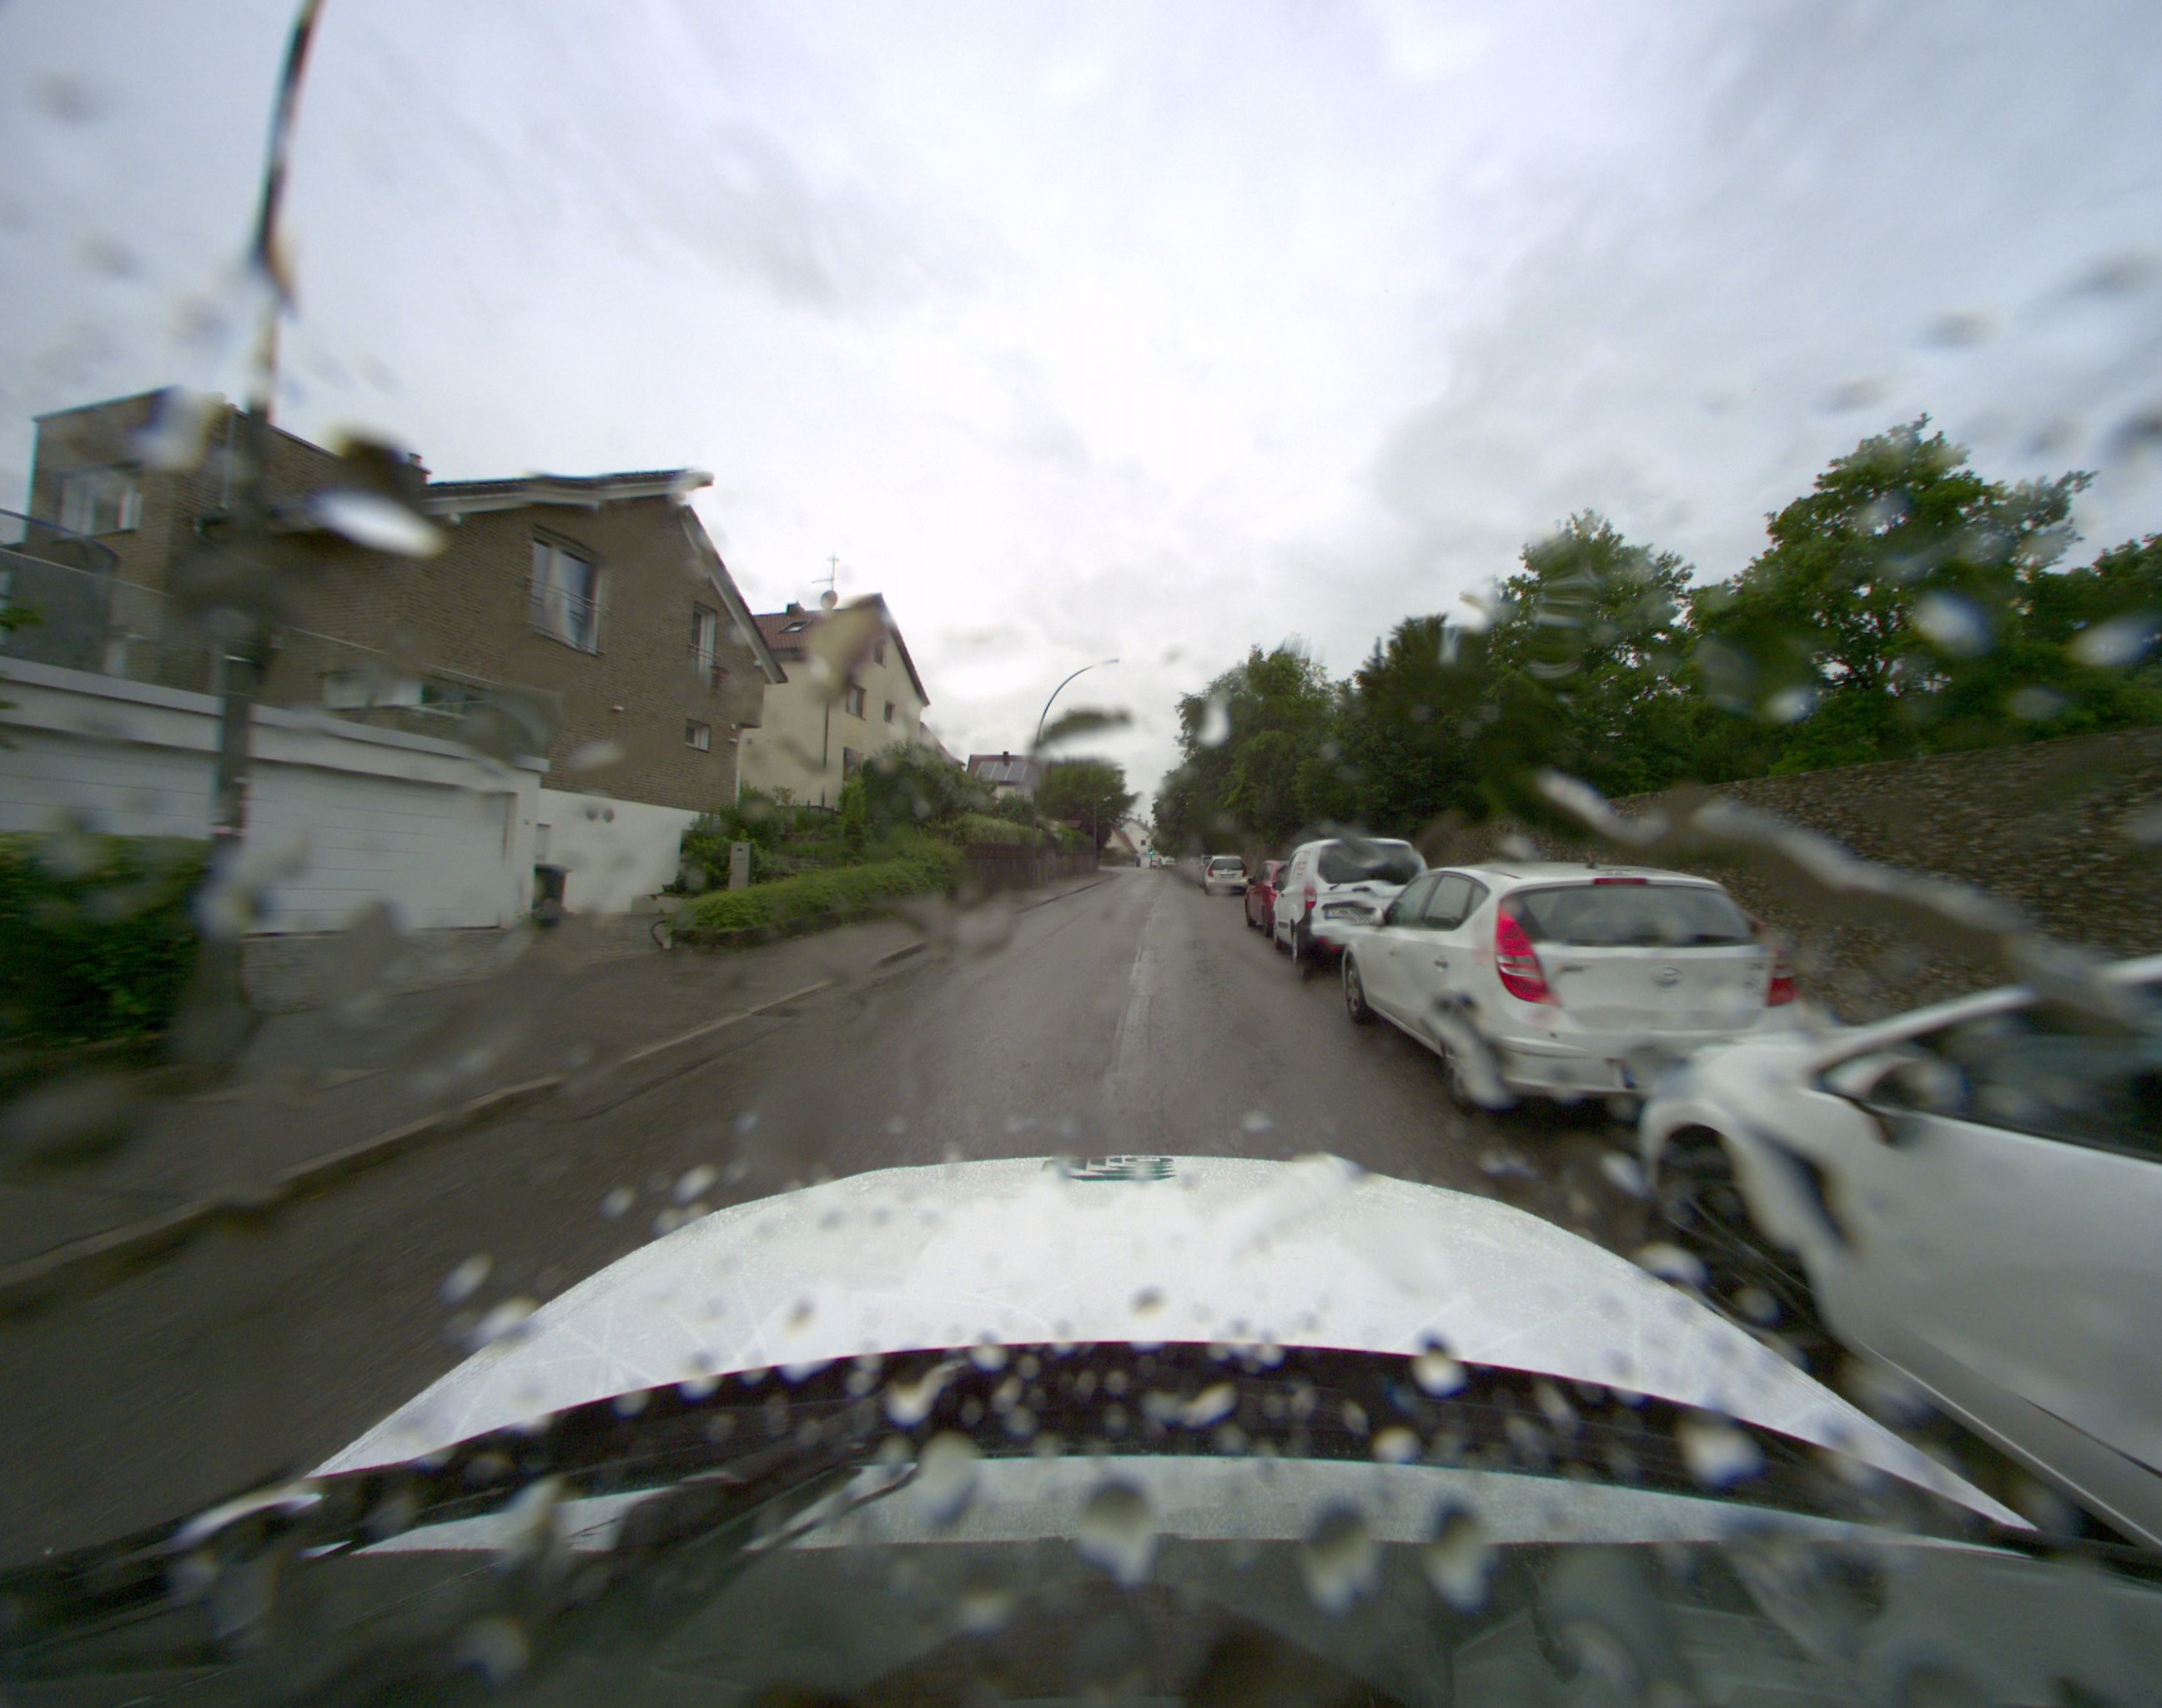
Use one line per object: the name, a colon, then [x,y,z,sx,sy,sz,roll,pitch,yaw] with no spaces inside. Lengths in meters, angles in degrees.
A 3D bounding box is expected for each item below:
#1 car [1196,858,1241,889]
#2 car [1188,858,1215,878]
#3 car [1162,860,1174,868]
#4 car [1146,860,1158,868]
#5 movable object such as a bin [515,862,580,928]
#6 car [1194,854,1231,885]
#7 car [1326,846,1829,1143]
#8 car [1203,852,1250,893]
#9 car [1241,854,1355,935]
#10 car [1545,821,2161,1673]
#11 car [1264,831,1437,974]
car: [6.706,0.942,40.109,1.757,1.447,4.701,0,-1,4]
car: [8.828,1.022,60.016,1.644,1.371,4.186,0,0,4]
car: [16.094,1.887,150.157,1.895,1.442,4.011,0,0,10]
car: [13.219,1.915,150.883,1.895,1.442,4.011,0,0,10]
movable object such as a bin: [-8.926,0.668,13.641,0.555,1.074,0.715,0,0,17]
car: [7.436,0.869,46.418,1.734,1.668,4.502,0,-1,4]
car: [3.133,0.747,6.168,1.638,1.462,4.005,1,-1,5]
car: [6.019,0.764,34.018,1.805,1.574,3.888,0,-1,8]
car: [4.350,0.748,16.807,1.577,1.455,3.668,-1,0,4]
car: [2.700,0.696,1.520,1.604,1.480,4.042,1,0,4]
car: [3.777,0.610,12.087,1.628,1.741,4.143,0,-1,7]
